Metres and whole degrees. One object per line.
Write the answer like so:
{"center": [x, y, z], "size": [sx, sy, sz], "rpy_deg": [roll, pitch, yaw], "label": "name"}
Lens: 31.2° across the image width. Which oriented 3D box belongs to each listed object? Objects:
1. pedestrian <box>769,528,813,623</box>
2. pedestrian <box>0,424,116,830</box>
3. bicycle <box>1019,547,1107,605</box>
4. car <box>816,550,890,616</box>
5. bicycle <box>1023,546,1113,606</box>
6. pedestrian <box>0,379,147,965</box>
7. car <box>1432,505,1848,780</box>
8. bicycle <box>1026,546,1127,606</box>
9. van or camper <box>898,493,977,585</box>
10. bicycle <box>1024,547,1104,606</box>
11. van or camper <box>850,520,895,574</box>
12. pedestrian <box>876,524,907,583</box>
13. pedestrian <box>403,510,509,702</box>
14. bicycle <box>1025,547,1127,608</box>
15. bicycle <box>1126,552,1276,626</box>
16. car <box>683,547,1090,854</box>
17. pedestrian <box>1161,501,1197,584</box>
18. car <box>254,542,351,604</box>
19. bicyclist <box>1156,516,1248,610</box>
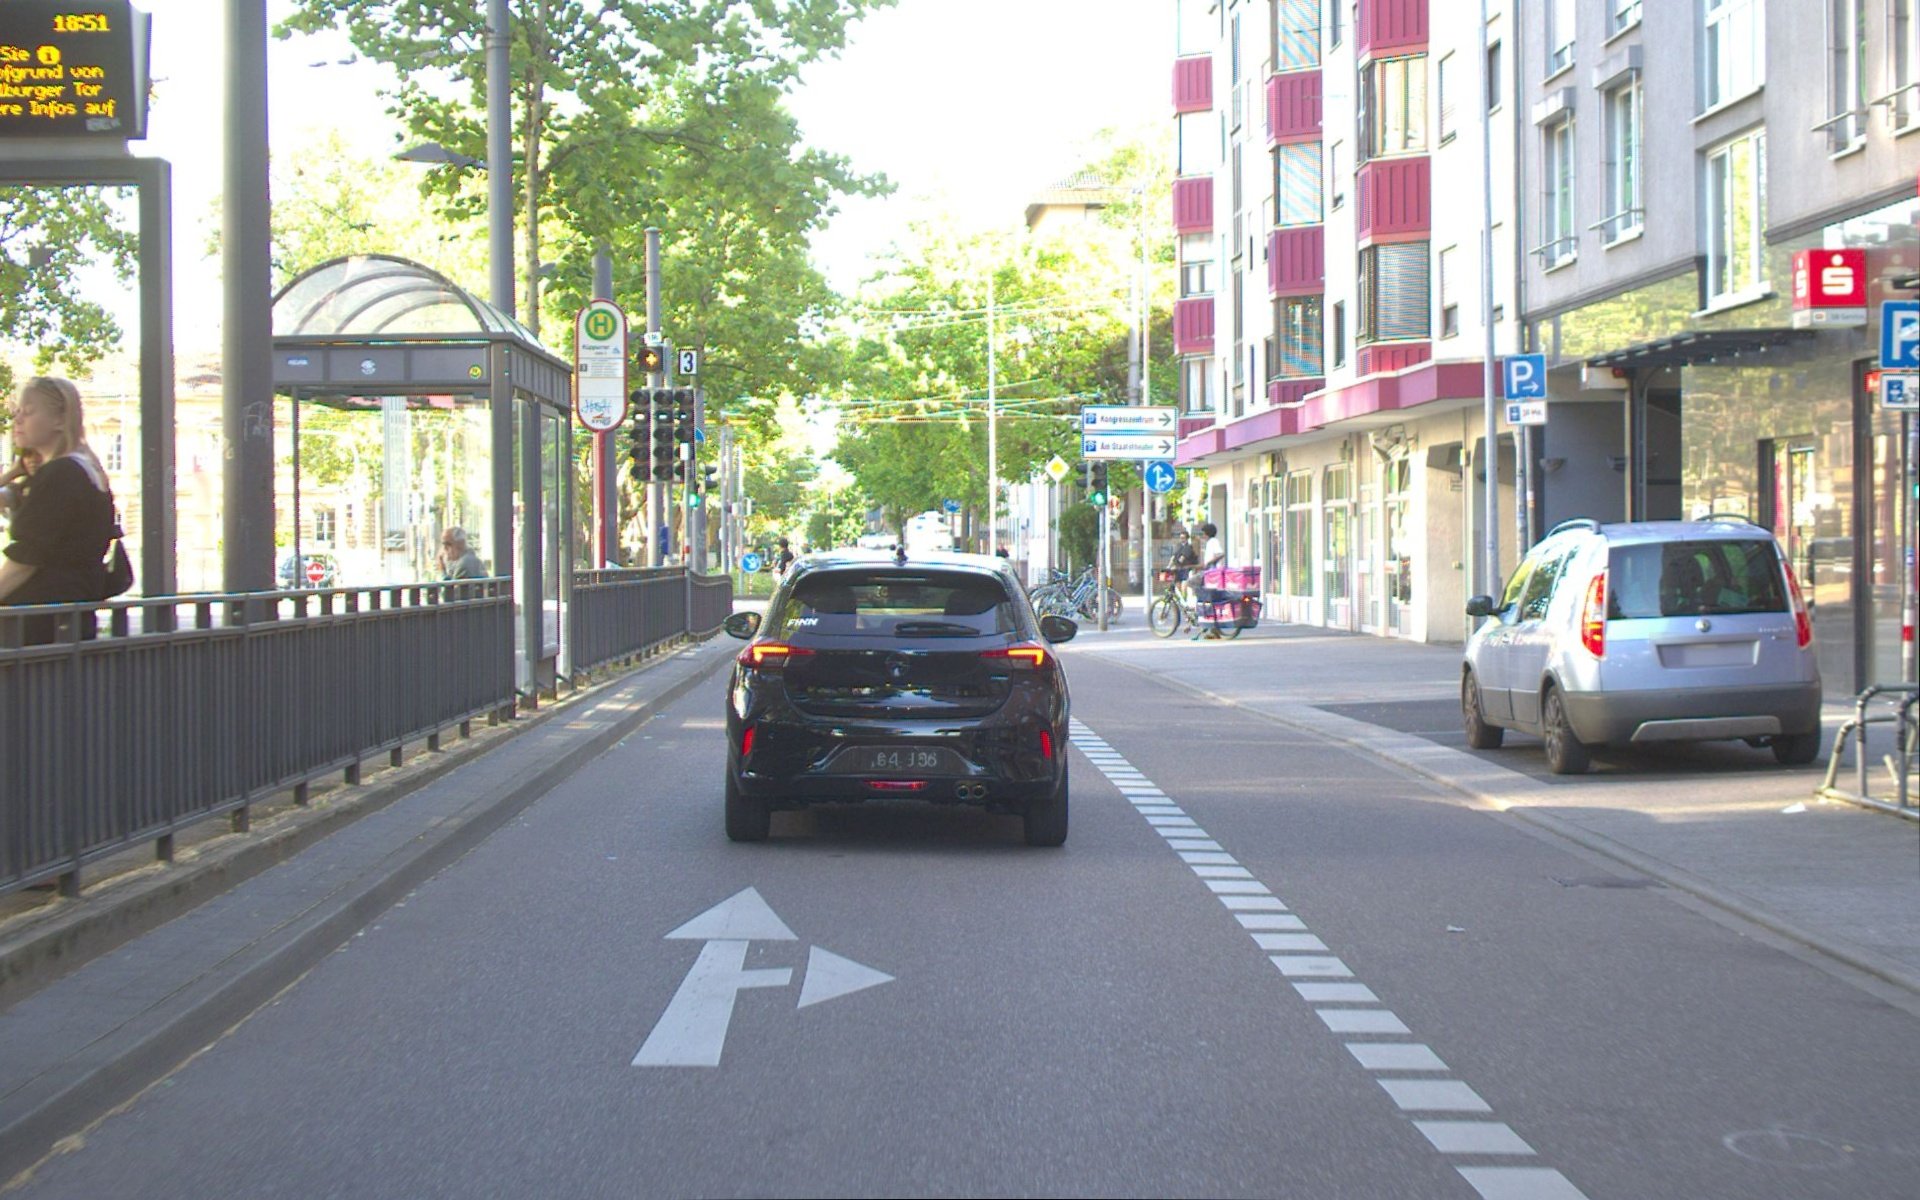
{"center": [-3.121, -0.451, 63.518], "size": [0.734, 1.741, 0.712], "rpy_deg": [0, 1, 3], "label": "pedestrian"}
{"center": [-4.384, 0.118, 16.165], "size": [0.645, 1.865, 0.753], "rpy_deg": [0, 1, -1], "label": "pedestrian"}
{"center": [2.143, -0.502, 71.296], "size": [1.802, 1.195, 0.545], "rpy_deg": [0, 0, 3], "label": "bicycle"}
{"center": [-2.690, -0.457, 87.522], "size": [1.832, 1.617, 4.285], "rpy_deg": [0, 1, -1], "label": "car"}
{"center": [2.201, -0.493, 69.978], "size": [1.831, 1.216, 0.496], "rpy_deg": [0, 1, 2], "label": "bicycle"}
{"center": [-3.080, 0.225, 11.344], "size": [0.646, 1.880, 0.661], "rpy_deg": [0, 1, -1], "label": "pedestrian"}
{"center": [4.499, 0.226, 23.392], "size": [1.832, 1.617, 4.285], "rpy_deg": [-3, 1, -1], "label": "car"}
{"center": [2.317, -0.478, 68.474], "size": [1.939, 1.166, 0.572], "rpy_deg": [0, 1, -5], "label": "bicycle"}
{"center": [-0.857, -2.220, 125.584], "size": [2.375, 3.114, 7.552], "rpy_deg": [-3, 1, -3], "label": "van or camper"}
{"center": [2.136, -0.481, 70.548], "size": [1.623, 1.195, 0.496], "rpy_deg": [0, 1, 3], "label": "bicycle"}
{"center": [-5.043, -3.064, 199.055], "size": [2.486, 2.983, 5.434], "rpy_deg": [2, 1, -1], "label": "van or camper"}
{"center": [-2.374, -1.616, 119.049], "size": [1.036, 2.017, 1.213], "rpy_deg": [0, 1, -3], "label": "pedestrian"}
{"center": [-3.497, 0.034, 23.893], "size": [0.626, 1.315, 0.801], "rpy_deg": [0, 1, -1], "label": "pedestrian"}
{"center": [2.326, -0.456, 69.114], "size": [1.976, 1.195, 0.591], "rpy_deg": [0, 1, -6], "label": "bicycle"}
{"center": [3.962, -0.197, 56.816], "size": [0.960, 1.179, 2.597], "rpy_deg": [-1, 1, -39], "label": "bicycle"}
{"center": [-0.385, 0.440, 18.230], "size": [1.905, 1.420, 4.216], "rpy_deg": [0, 1, -1], "label": "car"}
{"center": [4.901, -1.281, 76.882], "size": [0.722, 1.851, 0.801], "rpy_deg": [0, 1, -2], "label": "pedestrian"}
{"center": [-21.316, -0.898, 111.615], "size": [1.994, 1.941, 4.423], "rpy_deg": [0, 1, 4], "label": "car"}
{"center": [3.998, -0.616, 56.770], "size": [1.057, 1.534, 1.079], "rpy_deg": [-1, 1, -39], "label": "bicyclist"}
